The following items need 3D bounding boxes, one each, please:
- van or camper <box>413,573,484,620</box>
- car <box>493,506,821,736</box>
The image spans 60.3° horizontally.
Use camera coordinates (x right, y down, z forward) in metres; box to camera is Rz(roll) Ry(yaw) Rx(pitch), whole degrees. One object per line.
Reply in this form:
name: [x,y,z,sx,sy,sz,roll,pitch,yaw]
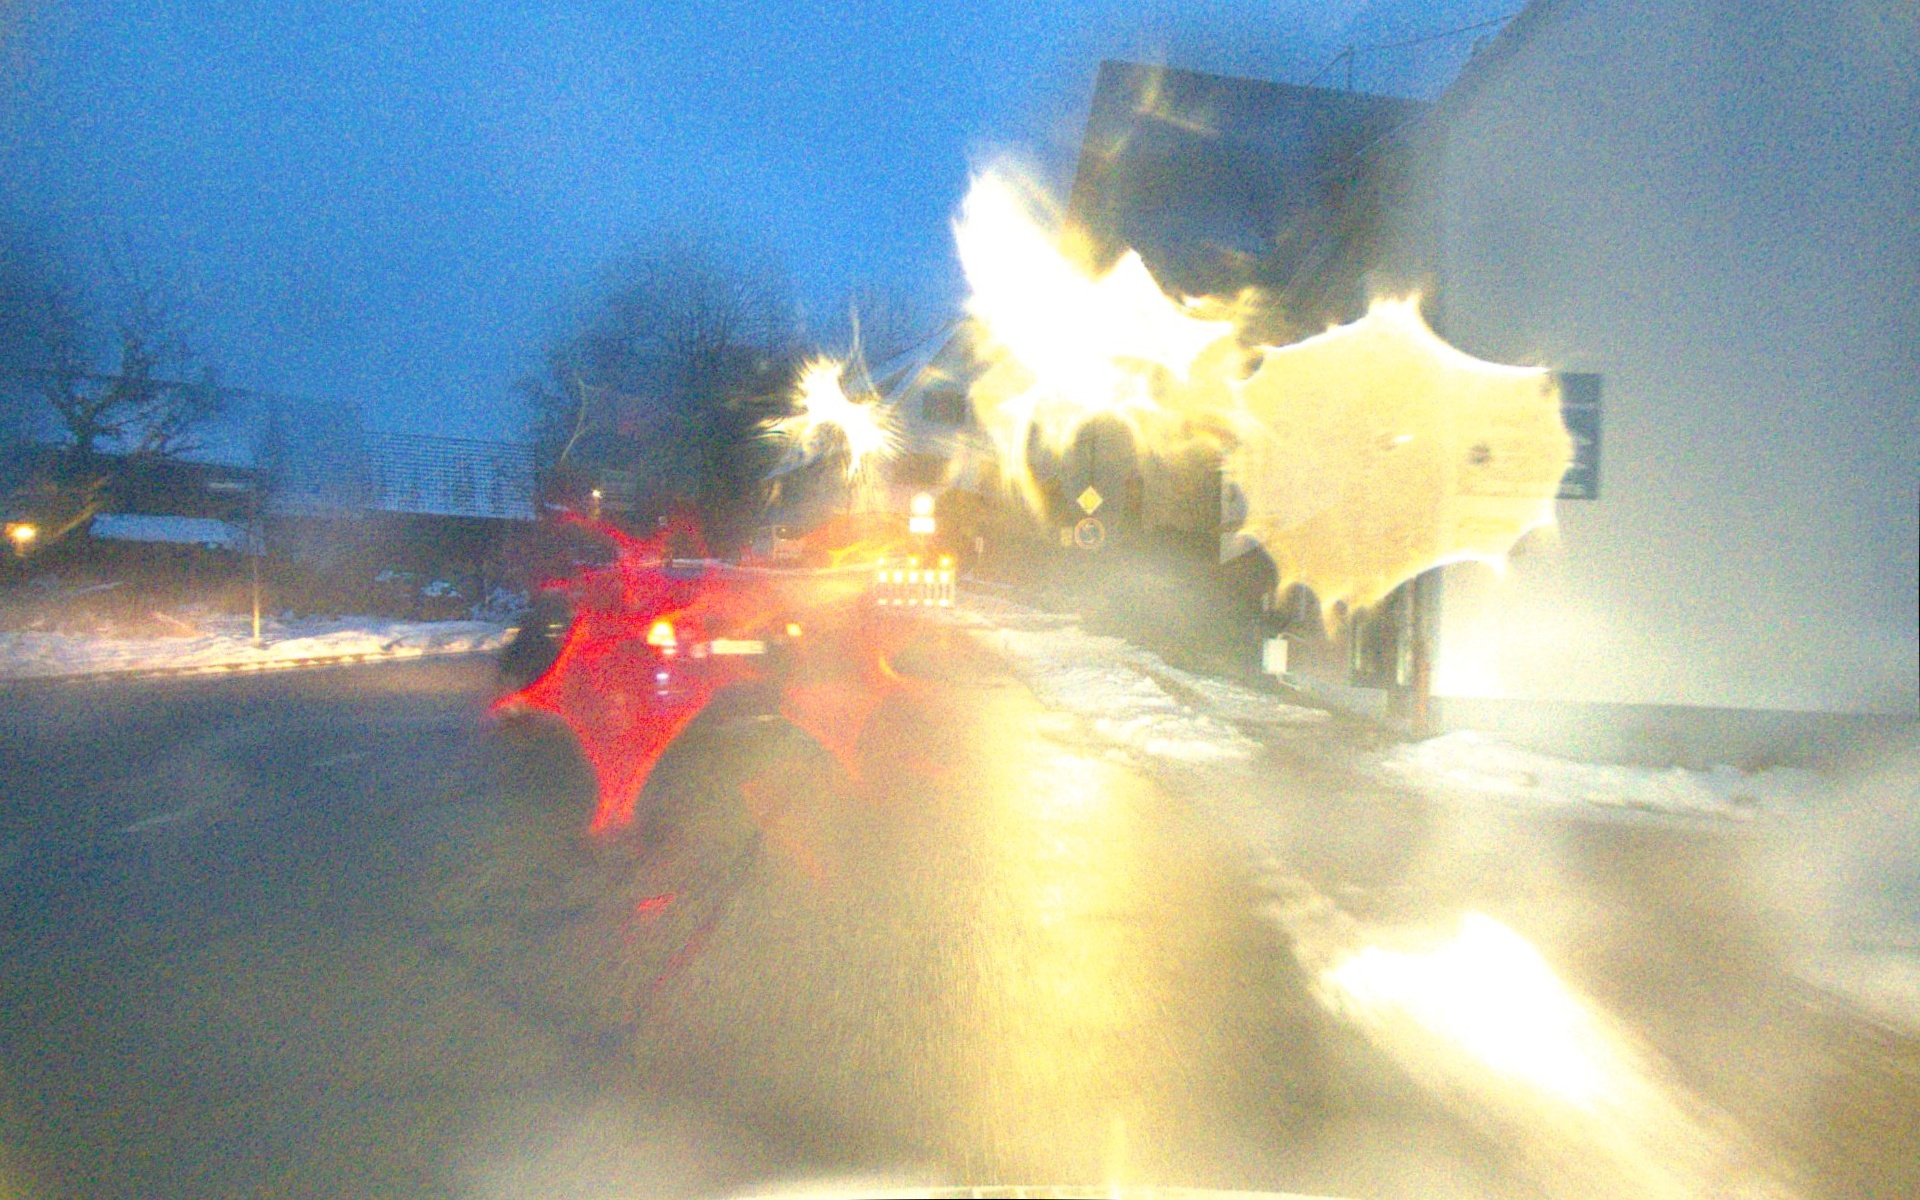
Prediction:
van or camper: [-13.553,-0.061,43.753,1.267,1.121,3.244,3,-2,-26]
car: [-2.883,0.164,15.170,1.805,1.828,3.538,0,0,-32]
